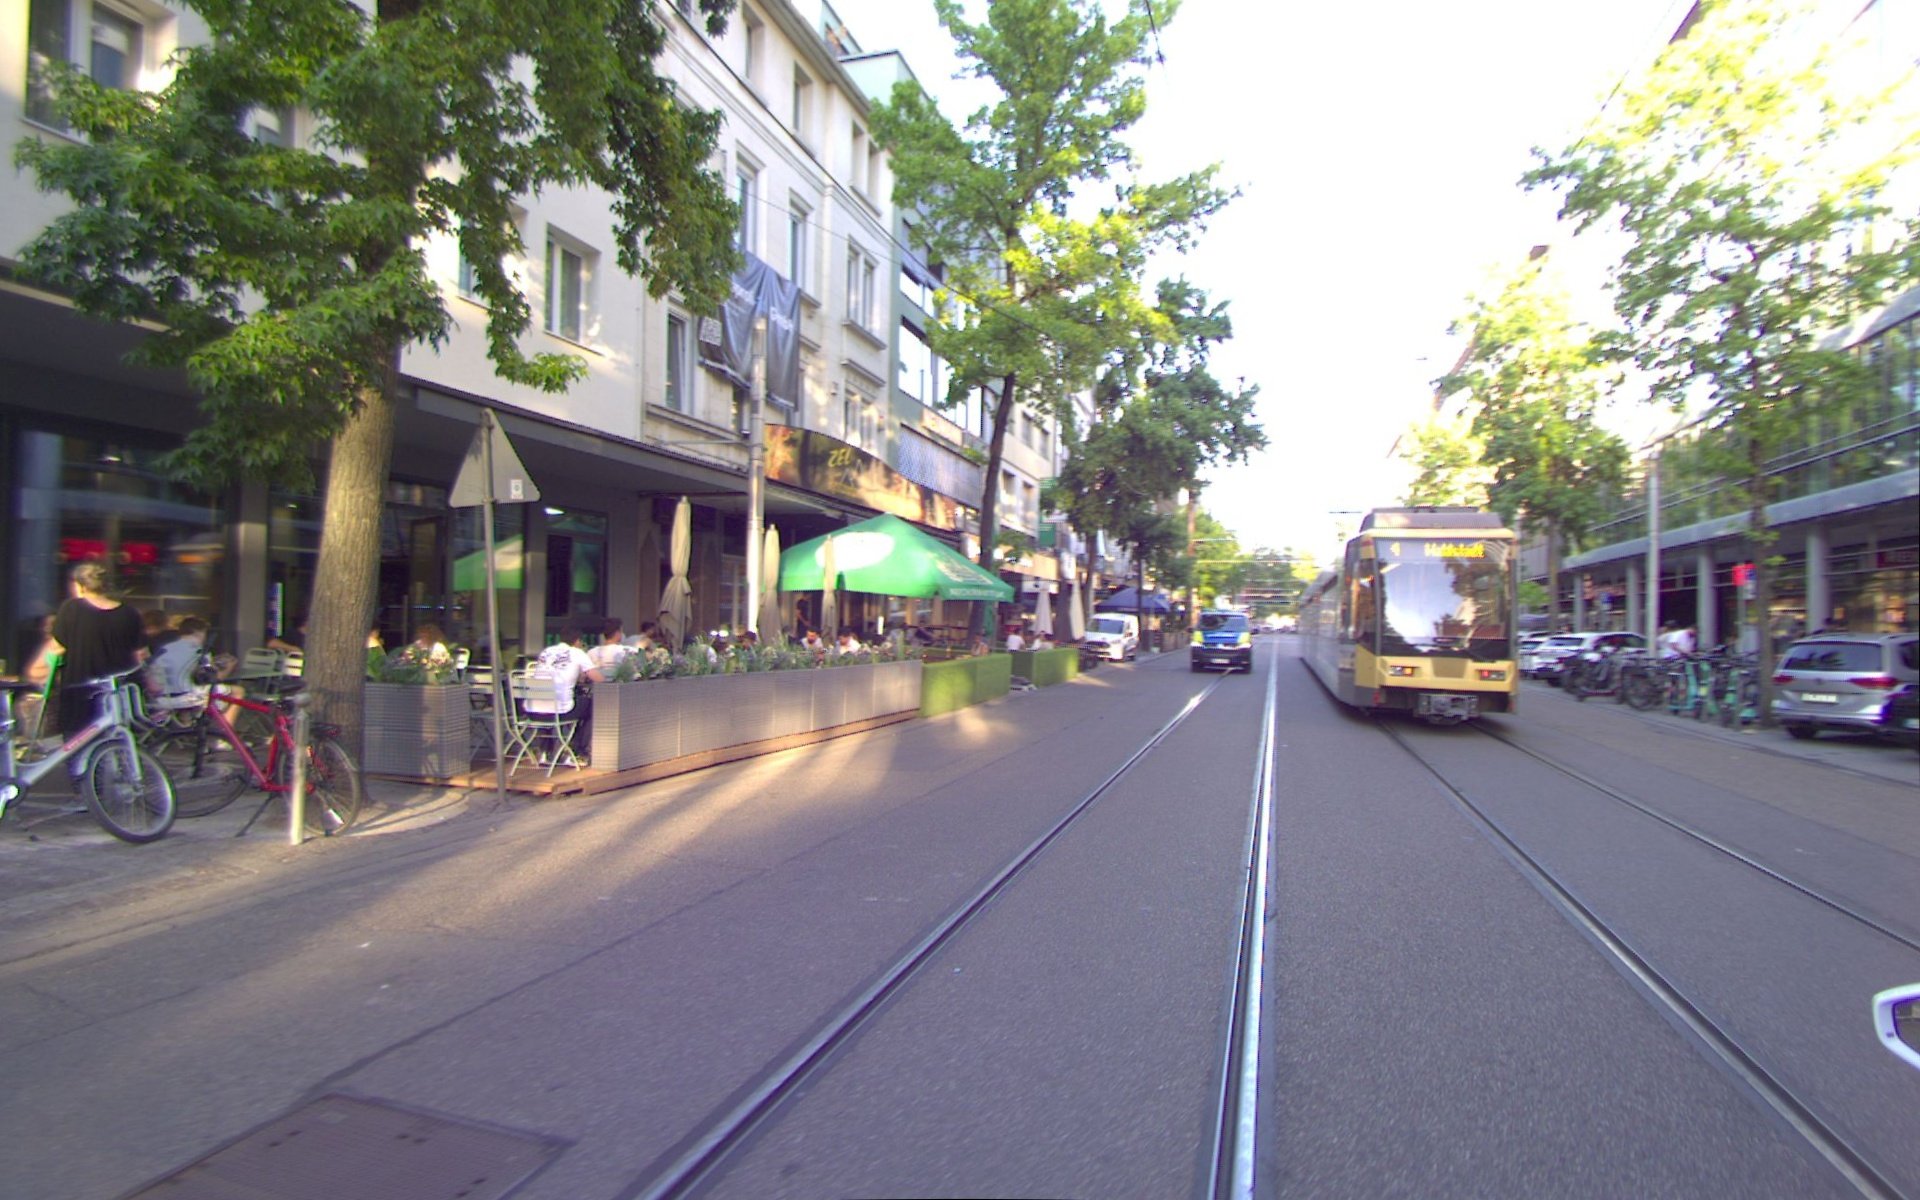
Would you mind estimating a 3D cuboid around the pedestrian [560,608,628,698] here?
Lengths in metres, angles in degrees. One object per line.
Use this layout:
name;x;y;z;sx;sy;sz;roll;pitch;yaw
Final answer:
pedestrian;-5.908;0.845;16.224;0.643;1.396;0.766;2;-2;18

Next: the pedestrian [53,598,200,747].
pedestrian;-7.956;0.676;9.616;0.612;1.337;0.842;2;-2;21

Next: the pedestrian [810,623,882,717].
pedestrian;-1.770;1.075;15.663;0.704;1.380;1.012;2;-1;19

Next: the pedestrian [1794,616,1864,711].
pedestrian;17.437;1.248;20.163;0.929;1.836;0.878;0;-1;-38

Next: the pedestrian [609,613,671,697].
pedestrian;-5.507;0.941;17.322;0.643;1.396;0.766;2;-2;18

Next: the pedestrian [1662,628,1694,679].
pedestrian;25.140;1.875;35.159;0.651;1.721;0.806;2;-1;17

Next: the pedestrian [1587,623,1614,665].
pedestrian;29.285;2.010;45.938;0.819;1.861;0.944;0;0;17

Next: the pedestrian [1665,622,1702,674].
pedestrian;25.831;1.715;35.882;0.862;1.806;0.755;-1;0;17

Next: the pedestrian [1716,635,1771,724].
pedestrian;15.010;1.492;19.267;0.779;1.647;0.766;-1;-1;36

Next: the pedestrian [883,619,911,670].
pedestrian;-1.784;1.246;28.331;0.528;1.396;0.679;2;-1;18

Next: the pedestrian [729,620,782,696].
pedestrian;-3.887;1.098;19.112;0.643;1.396;0.766;2;-2;18

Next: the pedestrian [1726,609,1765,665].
pedestrian;22.728;1.078;29.072;0.668;1.568;0.665;2;-1;17

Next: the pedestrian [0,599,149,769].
pedestrian;-7.694;0.680;8.553;0.834;1.337;0.881;2;-2;21

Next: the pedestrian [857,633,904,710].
pedestrian;-1.330;1.195;16.938;0.576;1.252;0.544;2;-1;19

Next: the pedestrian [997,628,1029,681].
pedestrian;1.402;1.444;26.645;0.633;1.363;0.731;2;-2;19

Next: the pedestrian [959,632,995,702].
pedestrian;0.349;1.359;20.594;0.538;1.396;0.565;2;-1;18

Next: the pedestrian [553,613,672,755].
pedestrian;-3.598;0.844;10.456;0.704;1.380;0.925;2;-1;19

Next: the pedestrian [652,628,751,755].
pedestrian;-3.000;1.036;11.704;0.704;1.380;0.872;2;-1;19

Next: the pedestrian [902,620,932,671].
pedestrian;-1.189;1.263;28.054;0.595;1.396;0.648;2;-1;18

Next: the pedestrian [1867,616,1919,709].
pedestrian;18.905;1.251;20.266;0.647;1.836;0.717;-1;-1;22

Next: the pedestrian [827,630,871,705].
pedestrian;-1.898;1.148;17.142;0.534;1.234;0.511;2;-1;19

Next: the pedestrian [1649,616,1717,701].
pedestrian;16.921;1.352;23.536;0.933;1.939;0.863;-2;0;6

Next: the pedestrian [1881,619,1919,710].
pedestrian;18.940;1.270;20.005;0.719;1.777;0.715;-1;-1;31

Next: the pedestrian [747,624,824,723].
pedestrian;-2.566;1.068;14.845;0.704;1.380;0.925;2;-1;19

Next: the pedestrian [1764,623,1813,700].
pedestrian;20.168;1.487;24.459;0.654;1.836;0.784;0;-1;-37

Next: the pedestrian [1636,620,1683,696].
pedestrian;17.568;1.440;25.231;0.806;1.837;0.597;-2;0;-21

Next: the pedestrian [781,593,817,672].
pedestrian;-3.747;0.747;23.456;0.643;1.789;0.765;2;-1;-1

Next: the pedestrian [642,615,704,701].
pedestrian;-4.875;0.973;17.089;0.643;1.396;0.766;2;-2;18

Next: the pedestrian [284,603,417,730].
pedestrian;-6.849;0.728;11.316;0.870;1.337;0.882;2;-2;21

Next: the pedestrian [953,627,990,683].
pedestrian;0.280;1.315;24.003;0.696;1.281;0.600;2;-1;18

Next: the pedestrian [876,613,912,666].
pedestrian;-1.777;1.061;27.078;0.679;1.396;0.766;2;-2;18

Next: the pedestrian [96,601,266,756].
pedestrian;-7.282;0.711;9.417;0.870;1.337;0.882;2;-2;21

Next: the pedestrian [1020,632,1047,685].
pedestrian;2.022;1.590;27.484;0.570;1.396;0.565;2;-1;18

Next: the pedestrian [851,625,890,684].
pedestrian;-2.184;1.314;24.459;0.643;1.396;0.766;2;-2;18

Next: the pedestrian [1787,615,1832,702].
pedestrian;18.477;1.253;21.854;0.712;1.836;0.652;1;-1;-43

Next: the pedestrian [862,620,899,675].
pedestrian;-2.021;1.211;25.474;0.643;1.348;0.766;2;-2;18

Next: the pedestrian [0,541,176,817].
pedestrian;-5.974;0.523;6.857;0.771;1.764;0.638;3;-2;-25

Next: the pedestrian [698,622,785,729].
pedestrian;-2.991;1.019;13.837;0.704;1.380;1.012;2;-1;19

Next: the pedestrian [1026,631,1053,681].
pedestrian;2.101;1.471;26.427;0.542;1.283;0.642;2;-1;18

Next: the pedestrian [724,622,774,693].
pedestrian;-4.253;1.151;20.279;0.643;1.396;0.766;2;-2;18

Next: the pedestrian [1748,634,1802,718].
pedestrian;16.578;1.526;20.427;0.654;1.646;0.698;0;-1;-37

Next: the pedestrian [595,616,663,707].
pedestrian;-5.268;0.969;16.015;0.643;1.396;0.766;2;-2;18

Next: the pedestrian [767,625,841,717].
pedestrian;-2.459;1.105;15.923;0.704;1.380;1.012;2;-1;19
